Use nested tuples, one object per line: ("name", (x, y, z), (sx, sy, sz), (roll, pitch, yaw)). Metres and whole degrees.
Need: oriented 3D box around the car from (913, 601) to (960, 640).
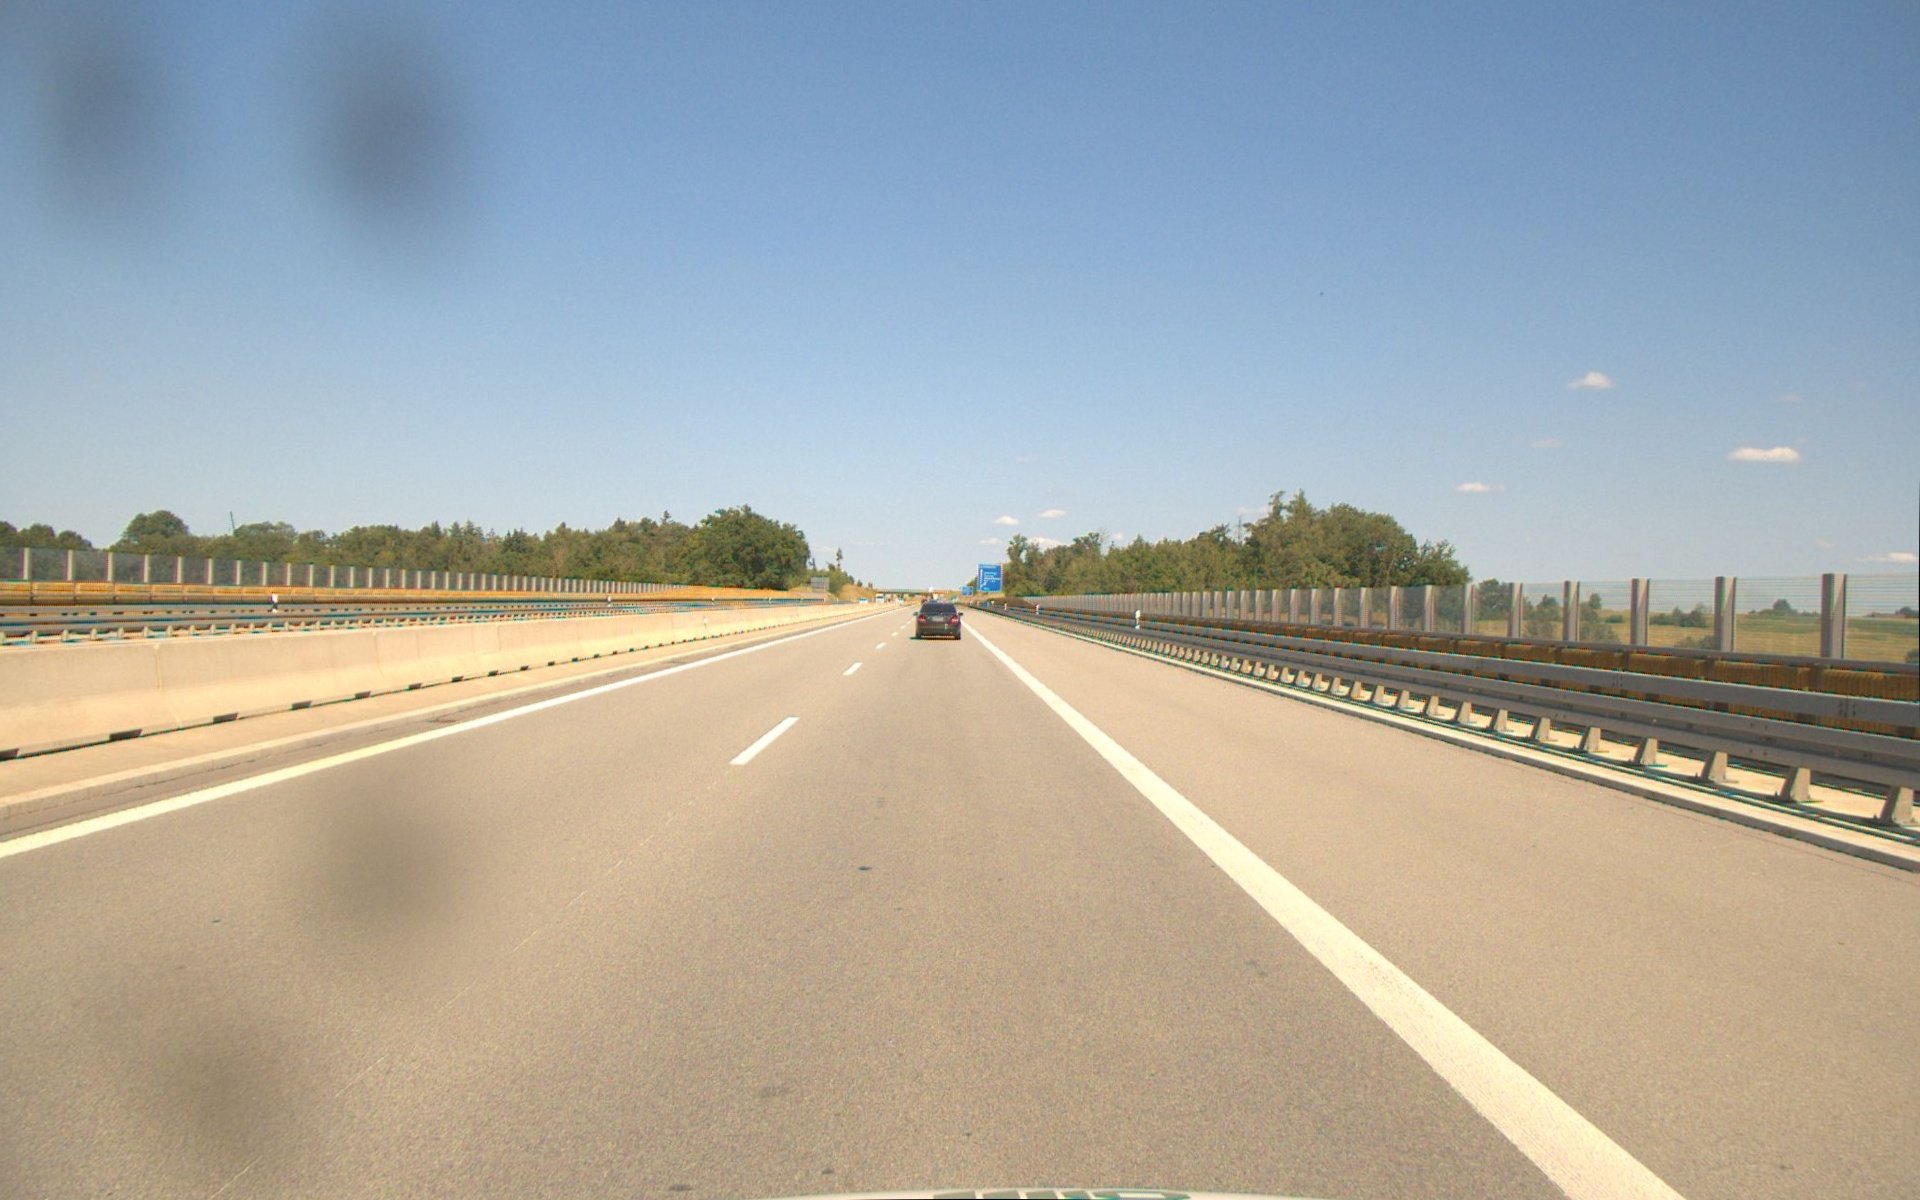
("car", (-0.890, 0.755, 63.433), (1.753, 1.398, 3.916), (1, 0, -1))
